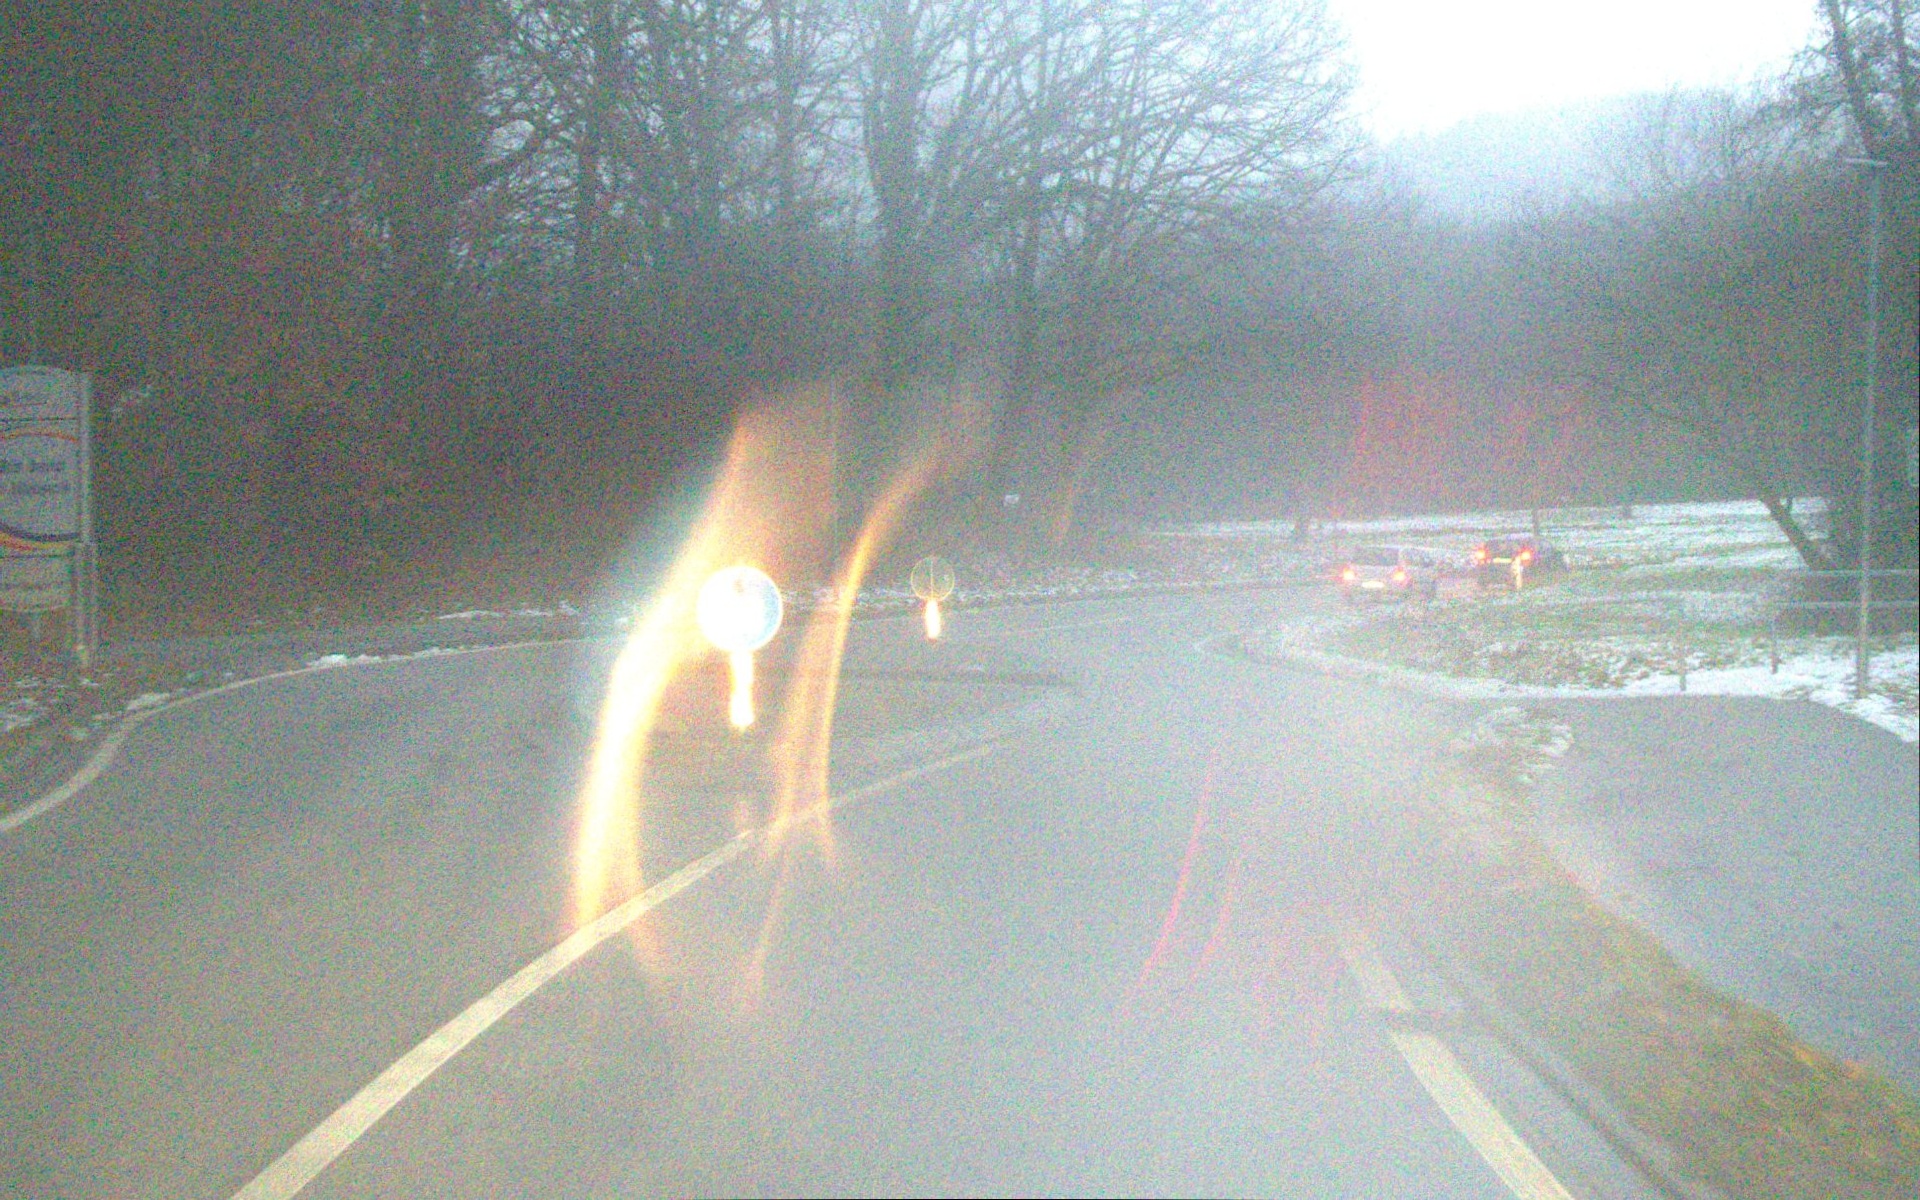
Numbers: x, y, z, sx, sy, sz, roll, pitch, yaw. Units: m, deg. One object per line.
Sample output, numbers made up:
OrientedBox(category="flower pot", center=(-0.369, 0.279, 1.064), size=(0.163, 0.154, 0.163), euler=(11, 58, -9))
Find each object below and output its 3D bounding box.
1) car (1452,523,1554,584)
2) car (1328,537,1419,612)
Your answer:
OrientedBox(category="car", center=(15.265, -1.314, 96.533), size=(1.935, 1.670, 3.995), euler=(0, 1, 23))
OrientedBox(category="car", center=(10.209, -0.652, 84.706), size=(1.934, 1.775, 3.998), euler=(0, 1, 11))
